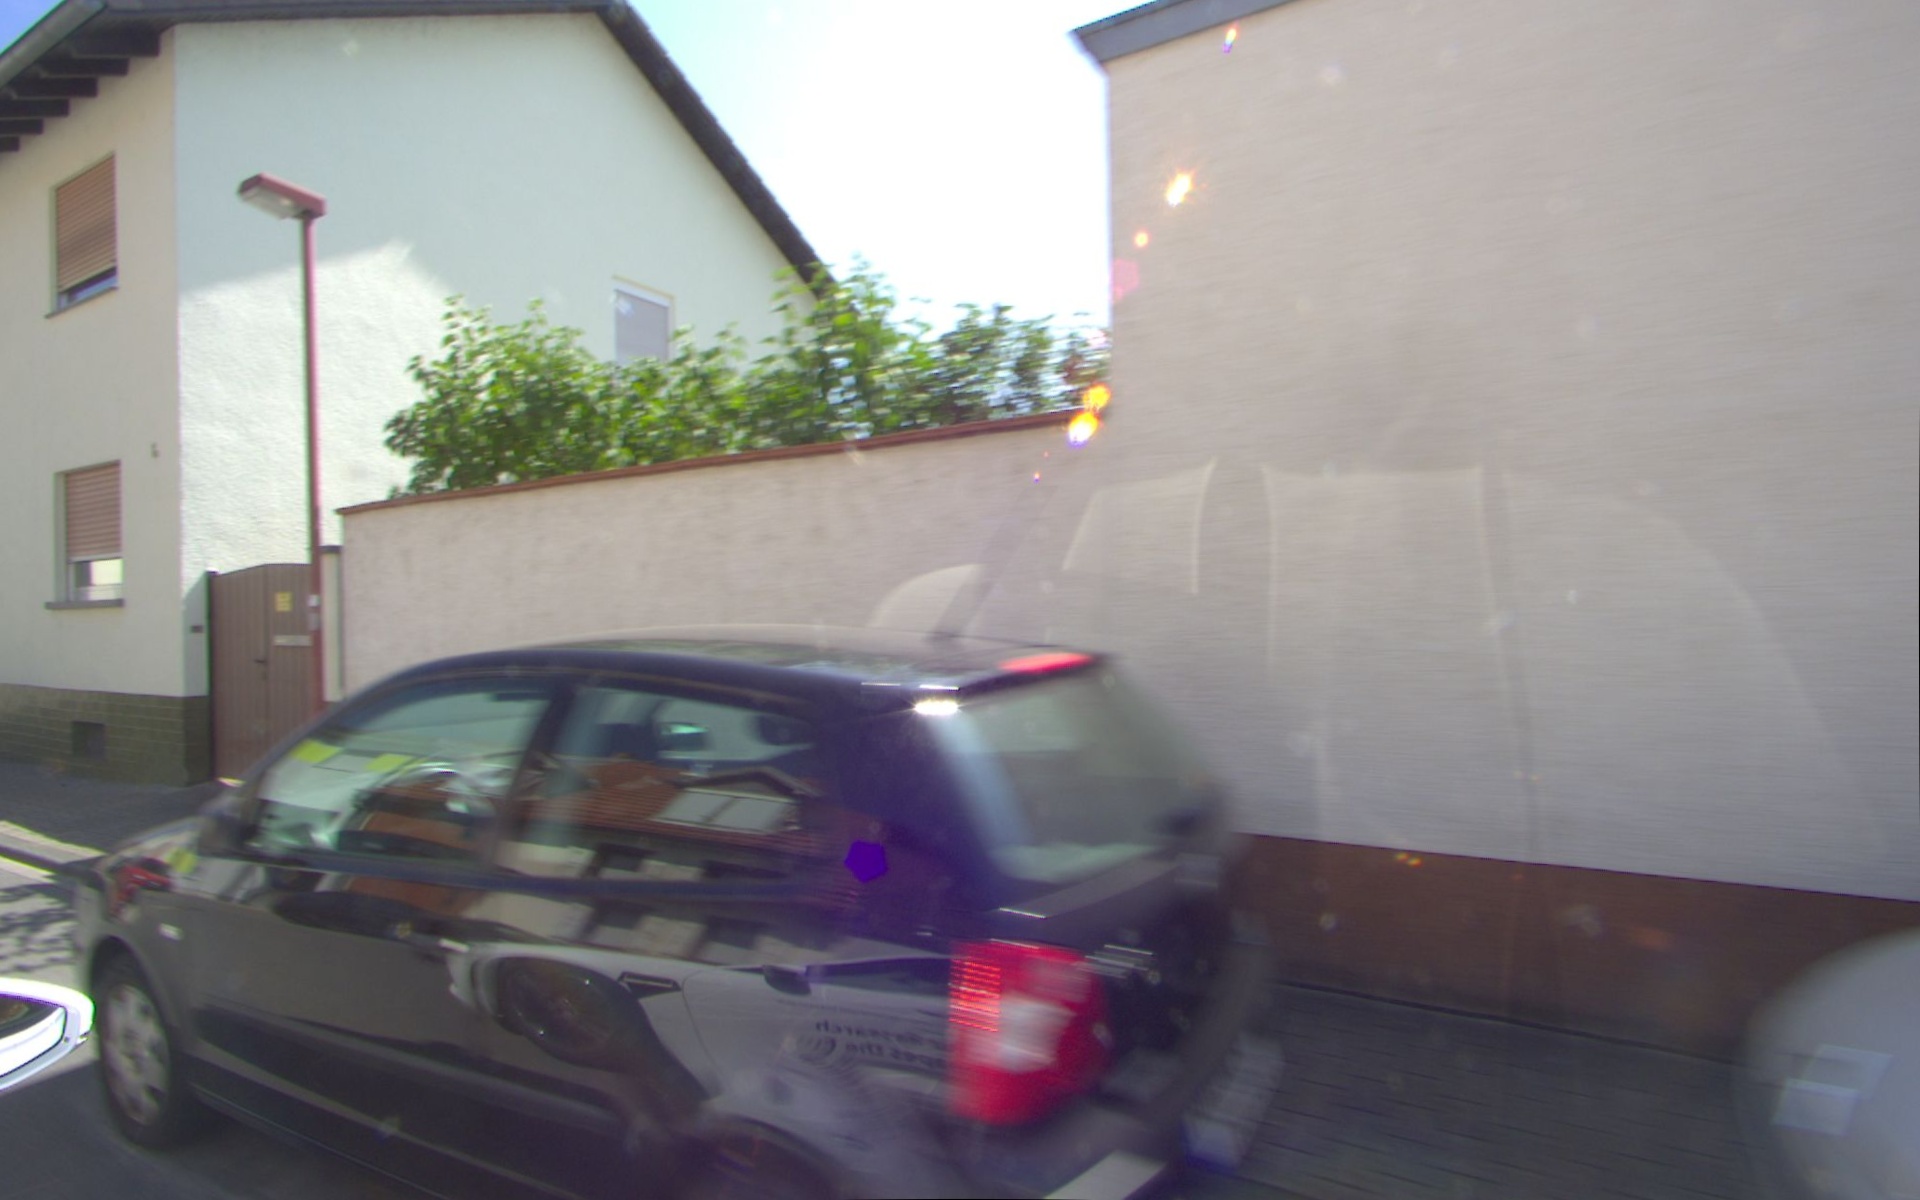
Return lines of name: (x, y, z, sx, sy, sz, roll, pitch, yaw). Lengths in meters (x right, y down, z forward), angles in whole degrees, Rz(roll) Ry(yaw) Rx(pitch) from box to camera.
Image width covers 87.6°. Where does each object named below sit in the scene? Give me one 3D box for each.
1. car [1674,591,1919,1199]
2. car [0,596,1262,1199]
car: (3.381, 0.707, 0.411, 4.861, 1.501, 1.787, -1, 1, 31)
car: (-1.326, 0.769, 3.105, 4.072, 1.455, 1.647, -1, -1, 30)
